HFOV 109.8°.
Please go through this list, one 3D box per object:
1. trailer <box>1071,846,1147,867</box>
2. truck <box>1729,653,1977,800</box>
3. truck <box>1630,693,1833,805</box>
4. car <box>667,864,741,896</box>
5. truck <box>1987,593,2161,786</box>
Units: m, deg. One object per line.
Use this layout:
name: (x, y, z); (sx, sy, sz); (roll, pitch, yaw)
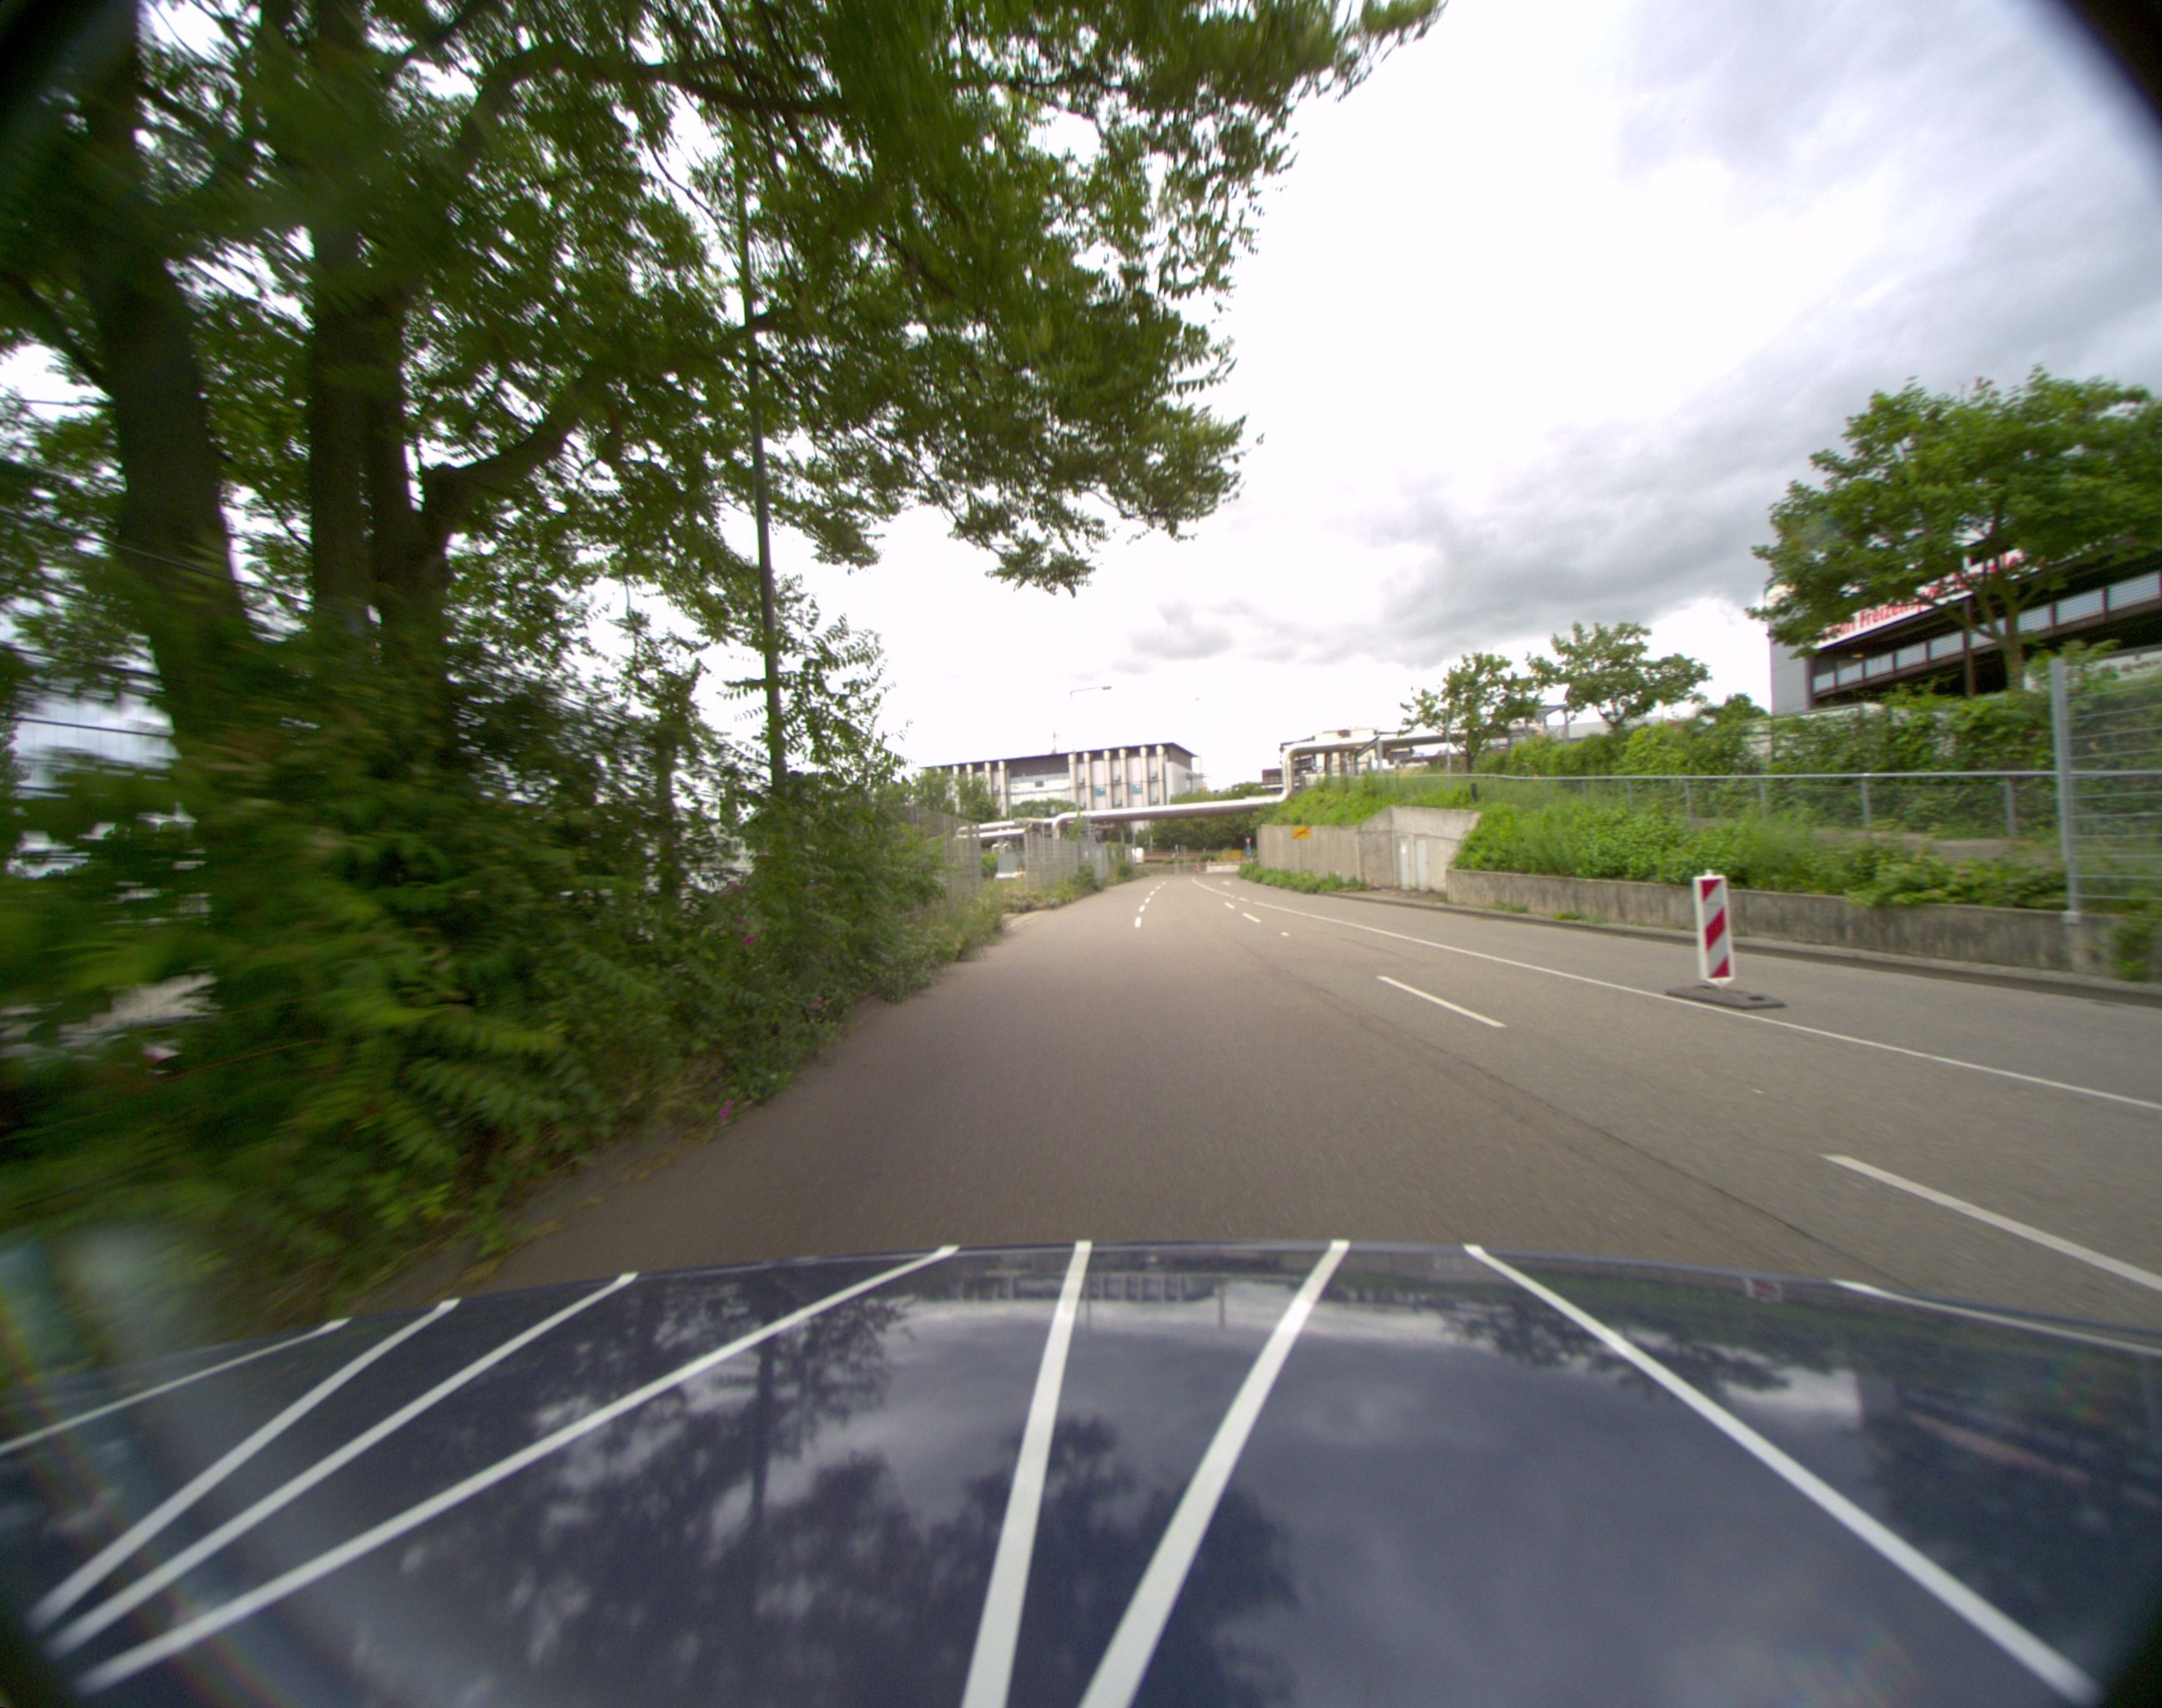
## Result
trailer: (4.137, 0.385, 112.877); (10.960, 2.679, 2.223); (-3, 0, 13)
truck: (22.813, -3.530, 22.353); (7.876, 3.519, 3.045); (-4, 2, -28)
truck: (24.101, -3.740, 28.048); (7.876, 3.519, 3.045); (-4, 2, -28)
car: (-26.852, 1.847, 54.138); (4.332, 2.002, 2.002); (-3, 0, 14)
truck: (23.858, -3.451, 17.041); (7.876, 3.519, 3.045); (-4, 2, -28)
